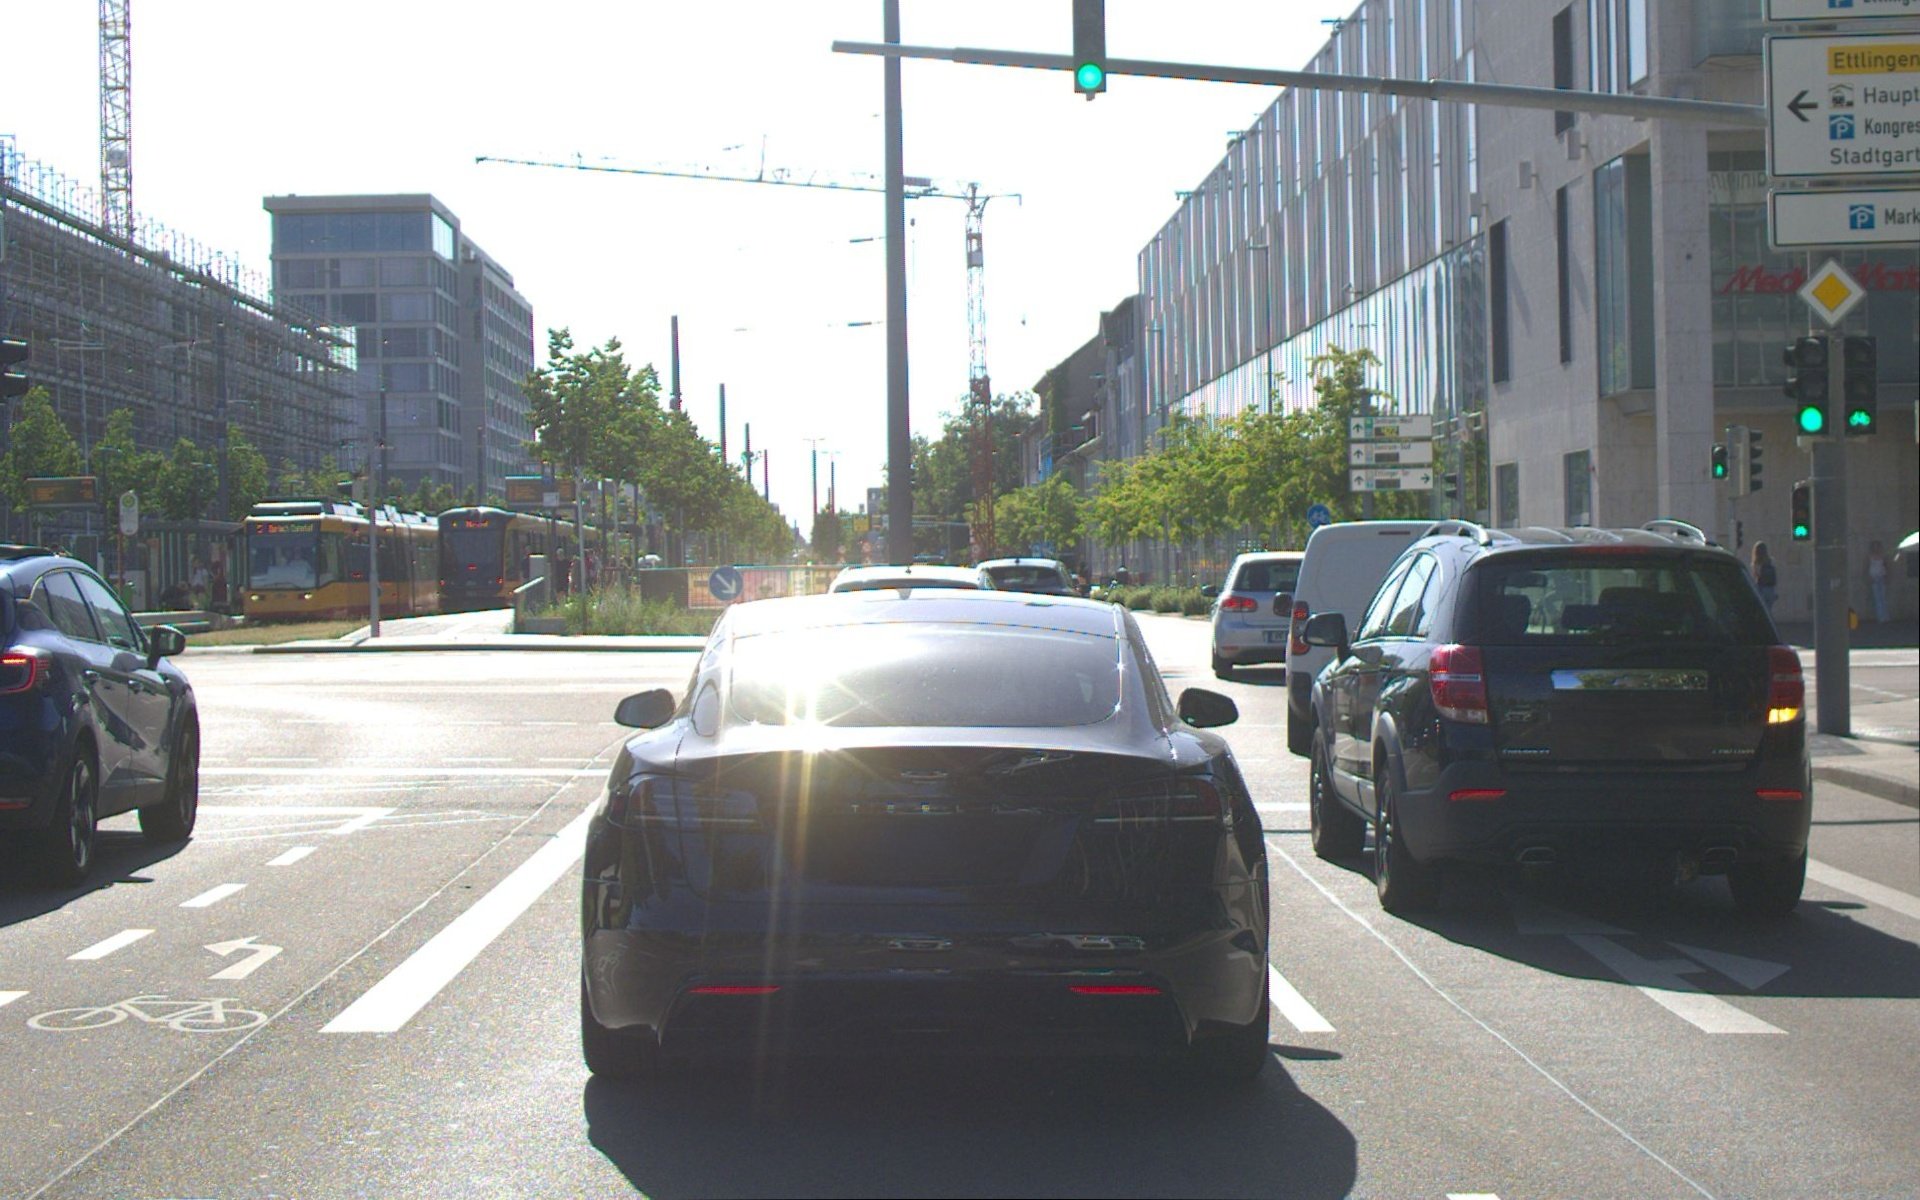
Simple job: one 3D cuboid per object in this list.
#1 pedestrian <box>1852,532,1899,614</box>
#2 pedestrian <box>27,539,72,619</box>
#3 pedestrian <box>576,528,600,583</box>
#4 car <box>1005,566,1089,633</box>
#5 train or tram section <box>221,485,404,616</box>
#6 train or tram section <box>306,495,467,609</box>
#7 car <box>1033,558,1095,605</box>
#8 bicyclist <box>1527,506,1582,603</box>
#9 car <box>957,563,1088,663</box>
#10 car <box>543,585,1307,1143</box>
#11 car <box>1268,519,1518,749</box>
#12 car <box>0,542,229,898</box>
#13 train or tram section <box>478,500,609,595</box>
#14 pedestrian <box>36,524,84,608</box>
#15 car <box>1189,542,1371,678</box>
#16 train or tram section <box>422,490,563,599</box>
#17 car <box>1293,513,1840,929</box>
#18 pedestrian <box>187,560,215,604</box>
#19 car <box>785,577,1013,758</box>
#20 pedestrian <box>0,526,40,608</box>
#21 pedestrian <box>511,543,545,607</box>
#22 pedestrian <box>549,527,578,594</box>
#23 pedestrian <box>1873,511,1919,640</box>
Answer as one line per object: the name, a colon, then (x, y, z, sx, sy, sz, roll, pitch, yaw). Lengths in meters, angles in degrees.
pedestrian: (18.127, -0.540, 68.064, 0.747, 1.602, 0.557, -1, 1, -2)
pedestrian: (-20.797, -0.487, 78.533, 0.800, 1.817, 0.976, -1, 1, -4)
pedestrian: (-12.389, -1.473, 114.508, 0.671, 1.804, 1.075, -1, 0, -2)
car: (1.929, -0.028, 76.856, 1.716, 1.427, 4.000, -1, 1, -1)
train or tram section: (-17.684, -1.341, 94.812, 2.870, 3.298, 13.074, 1, 1, -2)
train or tram section: (-18.047, -1.425, 109.302, 2.847, 3.310, 15.967, 1, 0, -2)
car: (3.548, -0.643, 118.192, 1.934, 1.536, 4.000, -1, 1, -1)
bicyclist: (10.826, -0.824, 62.622, 0.724, 1.731, 0.998, -1, 0, -5)
car: (0.850, 0.153, 48.688, 1.716, 1.315, 4.000, -1, 1, -1)
car: (-0.100, 0.681, 11.210, 1.999, 1.429, 4.413, 0, 1, 0)
car: (3.463, 0.225, 28.108, 1.785, 1.728, 4.163, 0, 1, 4)
car: (-4.971, 0.500, 17.329, 1.770, 1.583, 4.088, 1, 1, -1)
train or tram section: (-15.647, -1.961, 130.805, 2.870, 3.268, 22.145, 1, 1, -2)
pedestrian: (-19.714, -0.748, 75.328, 0.800, 1.817, 0.976, -1, 1, -4)
car: (3.803, 0.087, 41.381, 1.784, 1.540, 4.039, -1, 1, 0)
train or tram section: (-15.095, -1.778, 112.137, 2.870, 3.268, 15.186, 1, 1, -2)
car: (2.703, 0.461, 16.317, 1.784, 1.693, 4.413, -1, 1, 0)
pedestrian: (-21.096, -0.504, 95.596, 0.671, 1.222, 0.506, 1, 0, -4)
car: (-0.489, 0.499, 28.086, 1.716, 1.315, 4.000, -1, 1, -1)
pedestrian: (-20.994, -0.738, 76.473, 0.800, 1.817, 0.976, -1, 1, -4)
pedestrian: (-11.997, -0.703, 95.545, 0.874, 1.769, 1.189, 1, 1, -4)
pedestrian: (-10.694, -1.067, 92.767, 0.703, 1.769, 0.959, 1, 1, -4)
pedestrian: (13.651, -0.367, 48.579, 0.967, 1.795, 1.523, -3, 1, -1)
